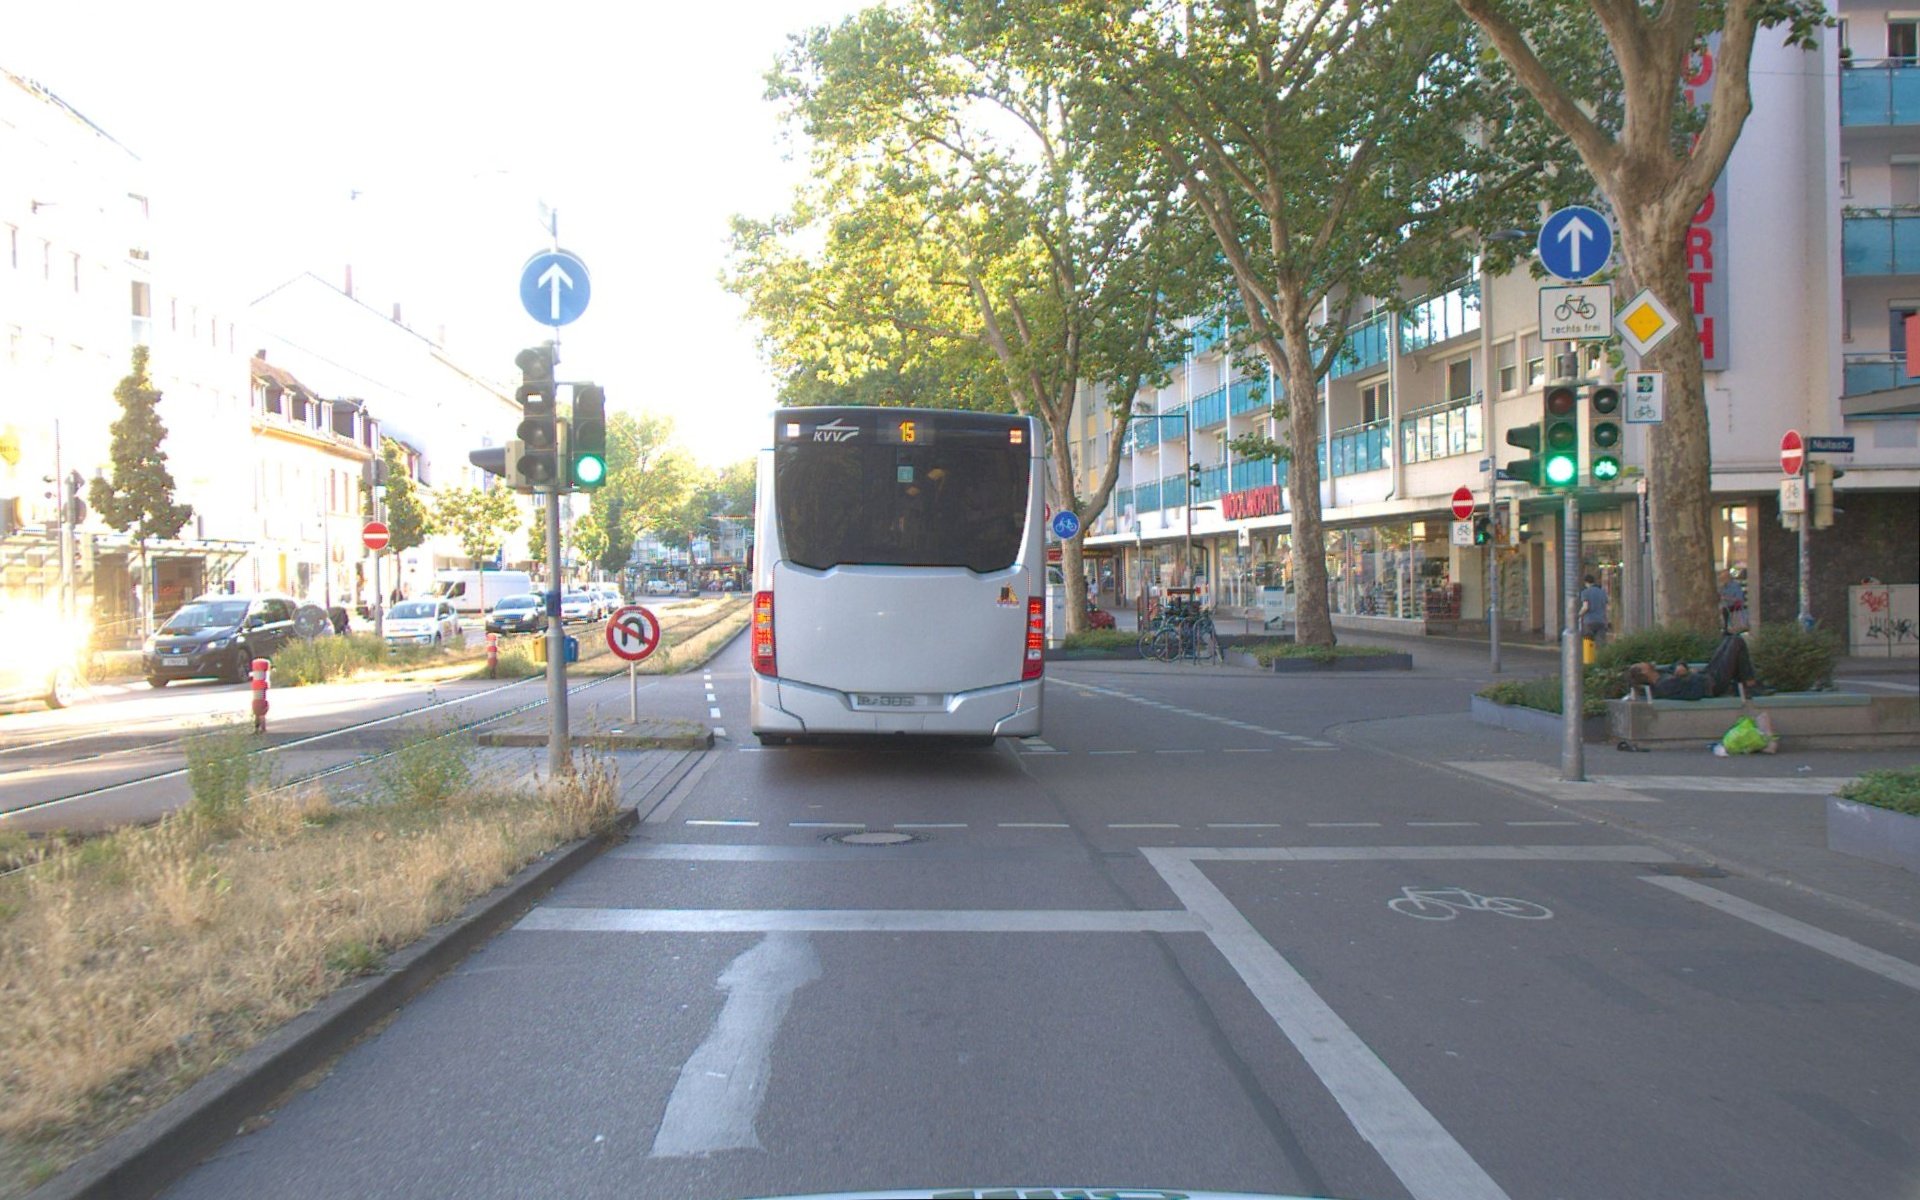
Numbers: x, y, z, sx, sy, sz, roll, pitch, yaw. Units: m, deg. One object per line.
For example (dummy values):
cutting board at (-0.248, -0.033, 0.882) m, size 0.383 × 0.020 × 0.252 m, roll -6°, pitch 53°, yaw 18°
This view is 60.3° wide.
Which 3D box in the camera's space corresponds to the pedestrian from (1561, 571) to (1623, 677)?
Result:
pedestrian at (11.103, 0.412, 29.064) m, size 0.764 × 1.825 × 0.764 m, roll -1°, pitch 0°, yaw -1°

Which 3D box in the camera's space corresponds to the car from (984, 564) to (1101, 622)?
car at (2.985, -0.260, 59.624) m, size 3.965 × 2.004 × 1.970 m, roll -1°, pitch 0°, yaw -42°

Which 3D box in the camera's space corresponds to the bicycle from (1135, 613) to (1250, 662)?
bicycle at (4.925, 0.787, 35.103) m, size 2.267 × 0.956 × 0.835 m, roll -1°, pitch 1°, yaw -9°

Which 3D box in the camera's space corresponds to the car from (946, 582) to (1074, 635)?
car at (1.605, 0.254, 52.021) m, size 1.964 × 1.557 × 3.977 m, roll -1°, pitch 0°, yaw 41°

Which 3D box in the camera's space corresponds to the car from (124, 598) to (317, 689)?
car at (-14.664, 0.809, 33.097) m, size 1.744 × 1.643 × 4.509 m, roll -1°, pitch 0°, yaw 1°

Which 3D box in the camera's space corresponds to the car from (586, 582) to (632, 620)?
car at (-19.894, 0.055, 93.790) m, size 1.954 × 2.049 × 3.997 m, roll -1°, pitch 0°, yaw -3°

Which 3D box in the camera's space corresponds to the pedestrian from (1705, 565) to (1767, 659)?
pedestrian at (14.548, 0.219, 31.016) m, size 0.733 × 1.708 × 0.834 m, roll -1°, pitch 2°, yaw -7°

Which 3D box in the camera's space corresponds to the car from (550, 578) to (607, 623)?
car at (-17.993, 0.015, 78.186) m, size 1.954 × 2.049 × 3.997 m, roll -1°, pitch 0°, yaw -3°

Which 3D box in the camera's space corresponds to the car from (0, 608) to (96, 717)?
car at (-14.467, 0.961, 23.837) m, size 1.744 × 1.475 × 4.045 m, roll -3°, pitch 1°, yaw 1°

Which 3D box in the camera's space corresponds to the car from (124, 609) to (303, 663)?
car at (-22.071, 1.035, 48.969) m, size 4.504 × 1.437 × 1.973 m, roll -1°, pitch 0°, yaw -37°

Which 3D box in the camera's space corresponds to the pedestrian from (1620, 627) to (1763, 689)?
pedestrian at (7.322, 0.573, 16.584) m, size 1.229 × 0.599 × 0.482 m, roll 0°, pitch 0°, yaw -3°

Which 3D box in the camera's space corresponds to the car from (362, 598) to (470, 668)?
car at (-15.051, 0.869, 45.961) m, size 1.860 × 1.836 × 3.997 m, roll -1°, pitch 0°, yaw -3°

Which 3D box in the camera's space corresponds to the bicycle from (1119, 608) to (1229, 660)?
bicycle at (4.687, 0.735, 36.314) m, size 2.267 × 1.046 × 0.835 m, roll -1°, pitch 1°, yaw -9°

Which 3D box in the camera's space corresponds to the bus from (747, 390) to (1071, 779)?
bus at (-0.660, -0.148, 17.011) m, size 2.625 × 3.137 × 7.108 m, roll 0°, pitch 0°, yaw -4°

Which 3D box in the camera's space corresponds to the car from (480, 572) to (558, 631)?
car at (-16.188, 0.052, 60.914) m, size 1.954 × 2.049 × 3.997 m, roll -1°, pitch 0°, yaw -3°

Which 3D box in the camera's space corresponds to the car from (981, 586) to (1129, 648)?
car at (2.601, 0.443, 44.722) m, size 1.964 × 1.557 × 3.977 m, roll -1°, pitch 0°, yaw 41°
